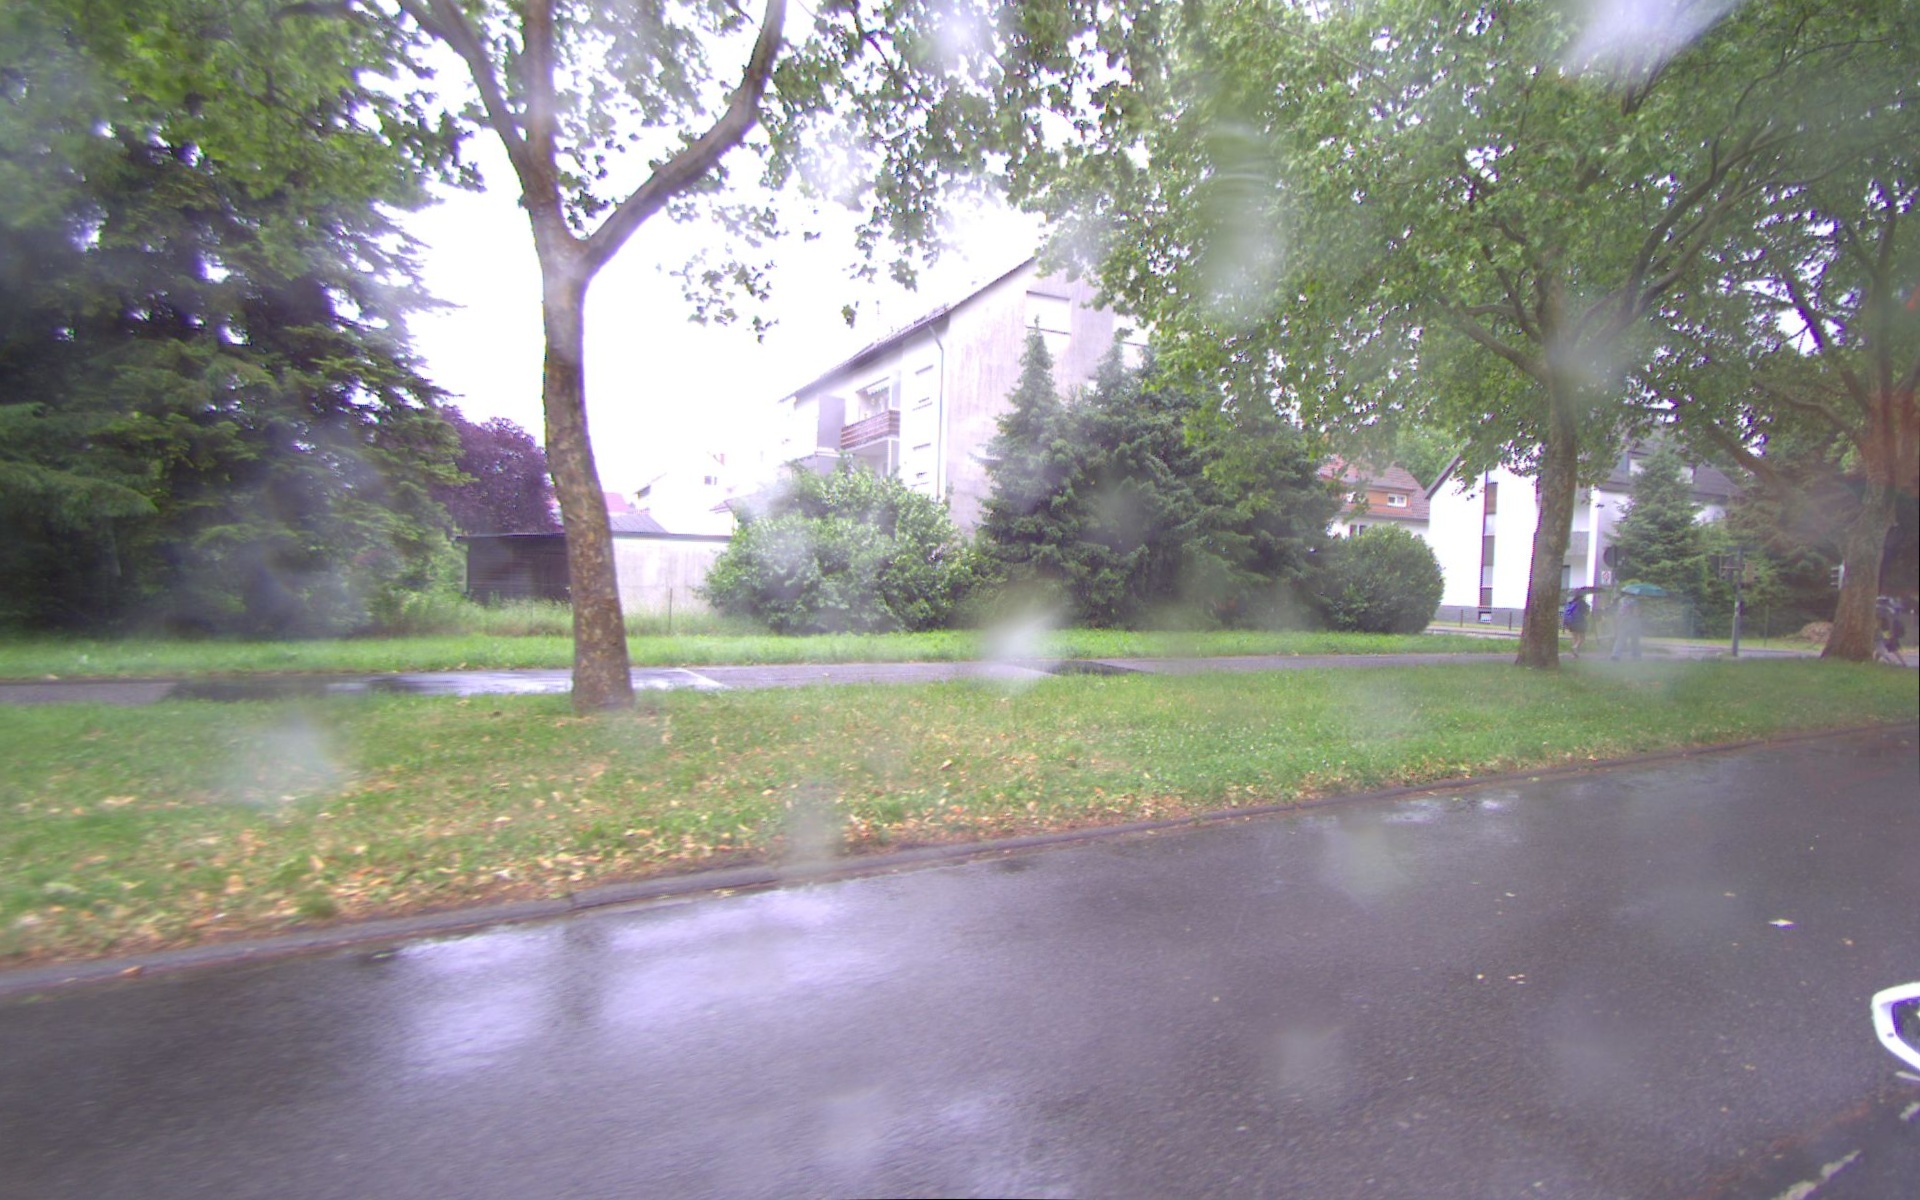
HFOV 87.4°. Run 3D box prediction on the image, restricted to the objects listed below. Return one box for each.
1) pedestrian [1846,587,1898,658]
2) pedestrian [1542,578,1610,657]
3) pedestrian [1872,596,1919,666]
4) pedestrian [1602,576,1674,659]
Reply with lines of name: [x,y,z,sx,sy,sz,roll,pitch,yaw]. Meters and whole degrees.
pedestrian: [23.609,0.571,26.009,0.633,1.768,0.815,1,2,-33]
pedestrian: [14.313,0.386,23.339,0.869,1.789,1.028,1,1,-30]
pedestrian: [24.658,0.808,26.391,0.633,1.768,0.854,1,2,-33]
pedestrian: [15.003,0.374,22.239,0.828,1.789,1.028,1,1,-30]
